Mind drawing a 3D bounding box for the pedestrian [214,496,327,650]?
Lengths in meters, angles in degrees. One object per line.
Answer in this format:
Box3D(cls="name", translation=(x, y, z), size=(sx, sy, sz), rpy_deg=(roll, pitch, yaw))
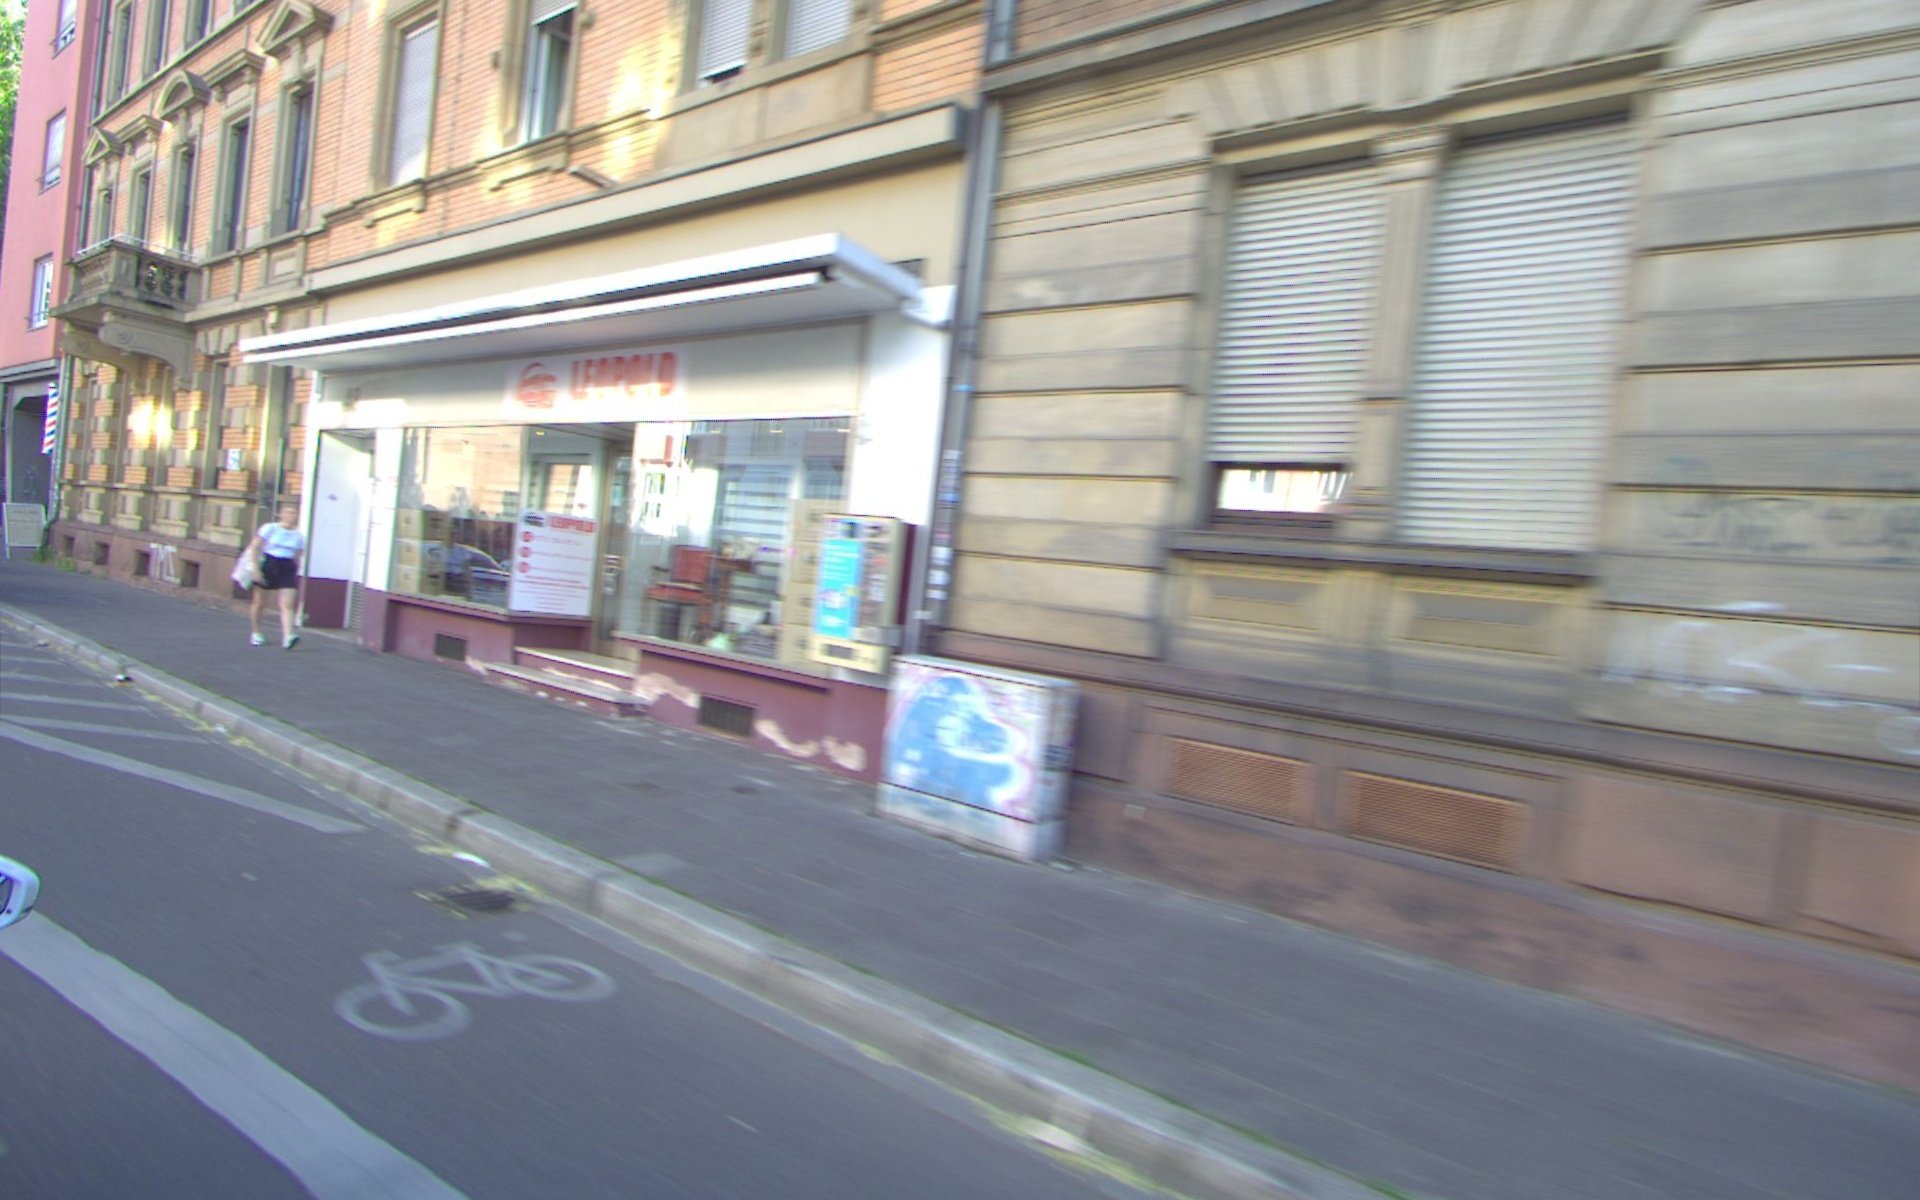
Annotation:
Box3D(cls="pedestrian", translation=(-7.596, -0.296, 11.077), size=(0.900, 1.589, 0.774), rpy_deg=(7, 4, 40))
